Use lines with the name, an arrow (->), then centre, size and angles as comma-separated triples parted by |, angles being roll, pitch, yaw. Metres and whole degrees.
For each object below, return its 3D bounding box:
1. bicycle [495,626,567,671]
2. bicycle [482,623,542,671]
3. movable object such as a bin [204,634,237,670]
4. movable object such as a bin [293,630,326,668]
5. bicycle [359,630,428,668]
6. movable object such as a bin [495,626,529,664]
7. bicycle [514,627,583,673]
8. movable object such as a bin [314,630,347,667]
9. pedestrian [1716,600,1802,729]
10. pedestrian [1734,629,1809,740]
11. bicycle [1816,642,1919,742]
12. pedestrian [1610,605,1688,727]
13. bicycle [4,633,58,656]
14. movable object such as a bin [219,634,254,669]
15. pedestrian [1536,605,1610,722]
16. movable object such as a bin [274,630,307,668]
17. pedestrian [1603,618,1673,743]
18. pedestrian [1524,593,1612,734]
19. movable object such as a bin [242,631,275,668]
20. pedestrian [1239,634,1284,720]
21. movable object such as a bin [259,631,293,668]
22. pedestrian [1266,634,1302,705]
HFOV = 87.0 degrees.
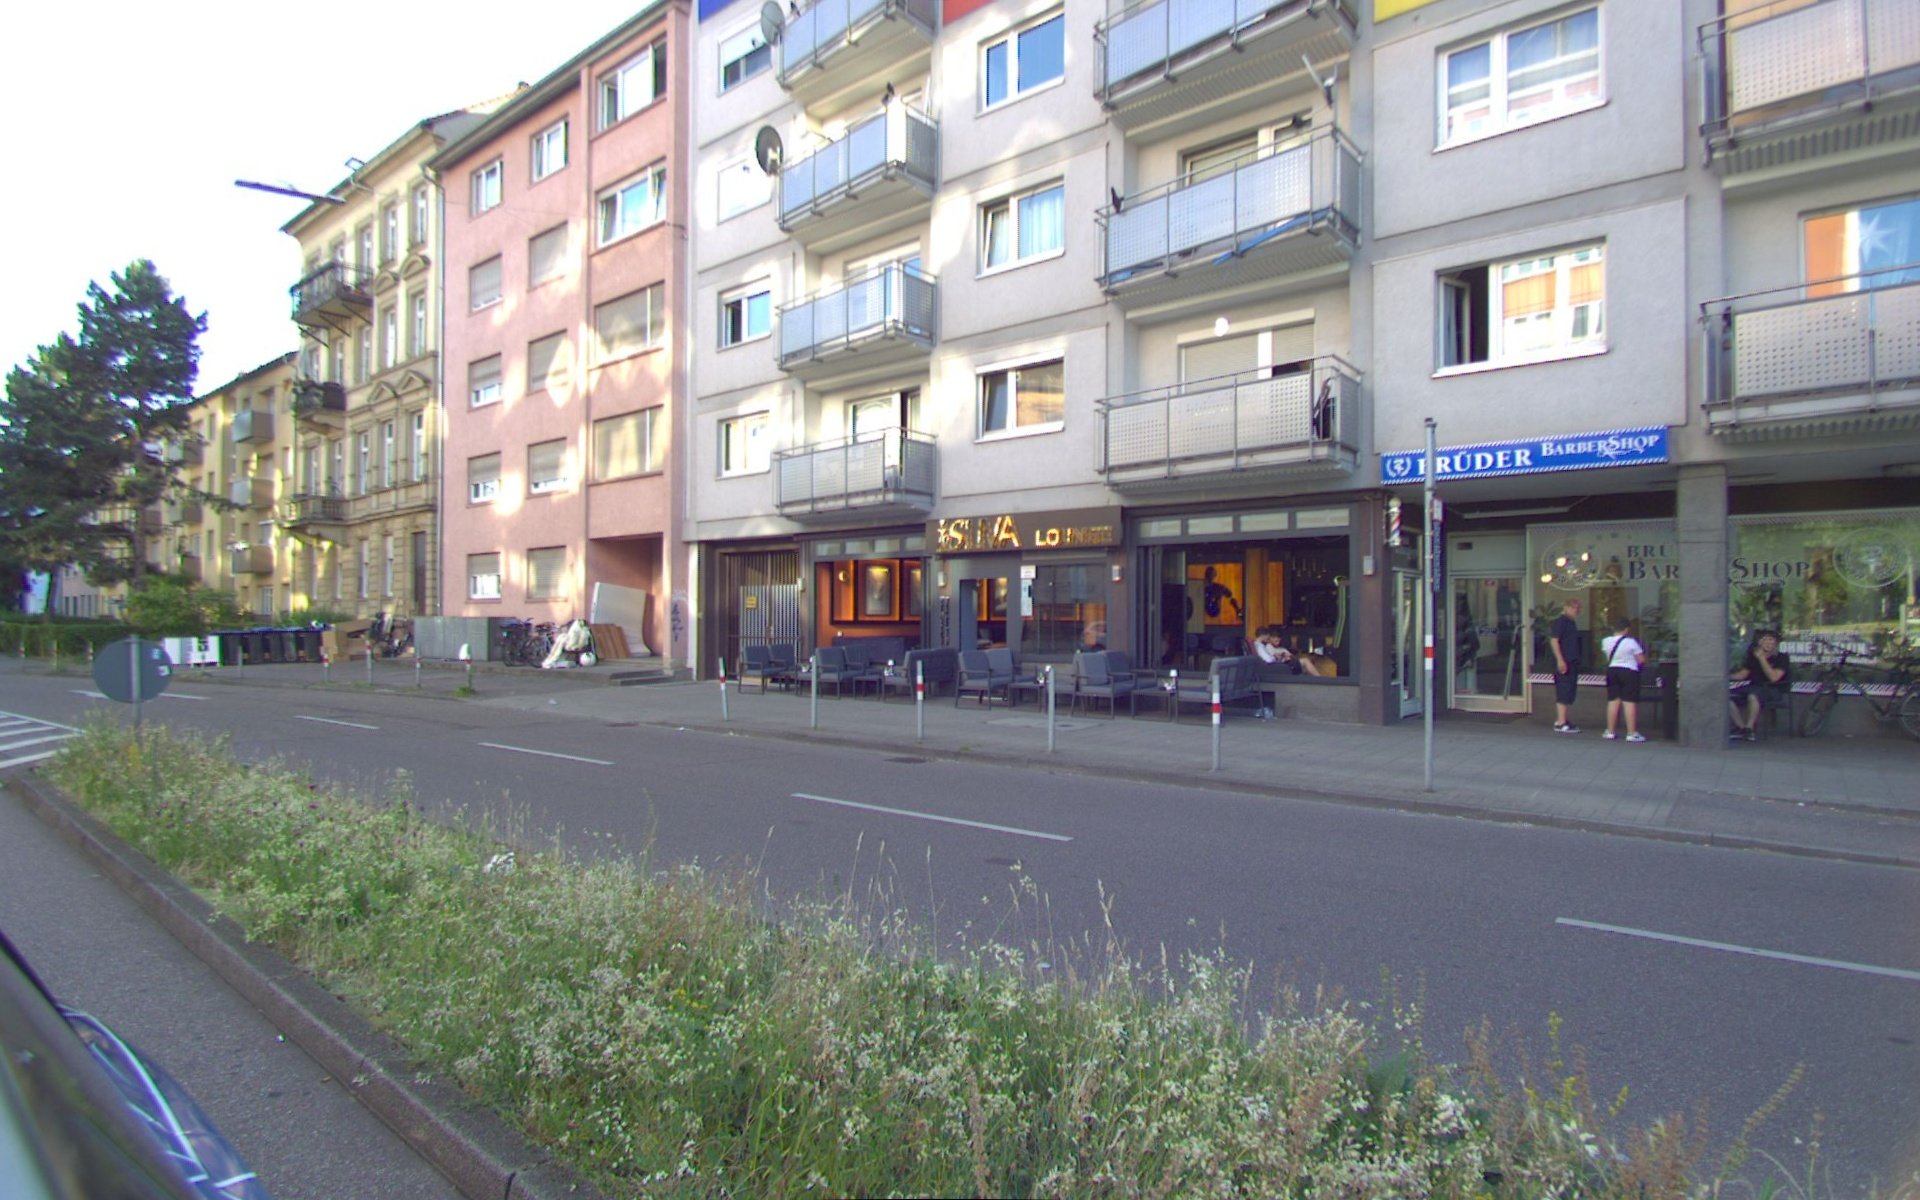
bicycle -> -10.808, 1.199, 25.544 | 0.548, 1.048, 1.656 | -1, 0, 33
bicycle -> -11.484, 1.184, 25.991 | 0.491, 1.169, 1.667 | 0, 0, 14
movable object such as a bin -> -23.458, 1.642, 32.109 | 0.577, 1.091, 0.640 | 0, 1, 10
movable object such as a bin -> -20.251, 1.518, 31.499 | 0.577, 1.119, 0.640 | 0, 1, 10
bicycle -> -17.284, 1.489, 30.904 | 0.661, 0.974, 1.633 | -1, 4, 38
movable object such as a bin -> -12.241, 1.219, 27.656 | 0.588, 1.039, 0.668 | -1, -2, 40
bicycle -> -10.152, 1.210, 25.037 | 0.546, 1.048, 1.661 | -1, 0, 25
movable object such as a bin -> -19.593, 1.498, 31.489 | 0.577, 1.119, 0.640 | 0, 1, 10
pedestrian -> 10.206, 0.806, 12.954 | 0.786, 1.590, 0.556 | -1, -2, 35
pedestrian -> 9.511, 0.966, 11.866 | 0.549, 1.249, 0.532 | 1, -2, -35
bicycle -> 10.798, 1.044, 11.619 | 1.454, 1.089, 0.582 | 0, -1, 38
pedestrian -> 9.270, 0.866, 13.625 | 0.787, 1.590, 0.555 | -2, -2, 41
bicycle -> -41.654, 1.989, 45.381 | 0.589, 0.989, 1.740 | -1, -1, 41
movable object such as a bin -> -22.818, 1.612, 31.938 | 0.620, 1.076, 0.640 | 0, 1, 10
pedestrian -> 8.583, 0.872, 14.166 | 0.787, 1.590, 0.555 | -2, -2, 41
movable object such as a bin -> -20.852, 1.521, 31.519 | 0.577, 1.119, 0.640 | 0, 1, 10
pedestrian -> 7.810, 0.909, 11.660 | 0.476, 1.394, 0.483 | 1, -2, -30
pedestrian -> 7.615, 0.780, 12.693 | 0.552, 1.714, 0.781 | 0, -2, -6
movable object such as a bin -> -22.099, 1.562, 31.887 | 0.577, 1.119, 0.640 | 0, 1, 10
pedestrian -> 4.388, 1.110, 14.758 | 0.546, 1.212, 0.521 | 0, -2, 8
movable object such as a bin -> -21.467, 1.543, 31.770 | 0.577, 1.119, 0.640 | 0, 1, 10
pedestrian -> 5.108, 1.091, 15.967 | 0.518, 1.088, 0.549 | -1, -2, 18
